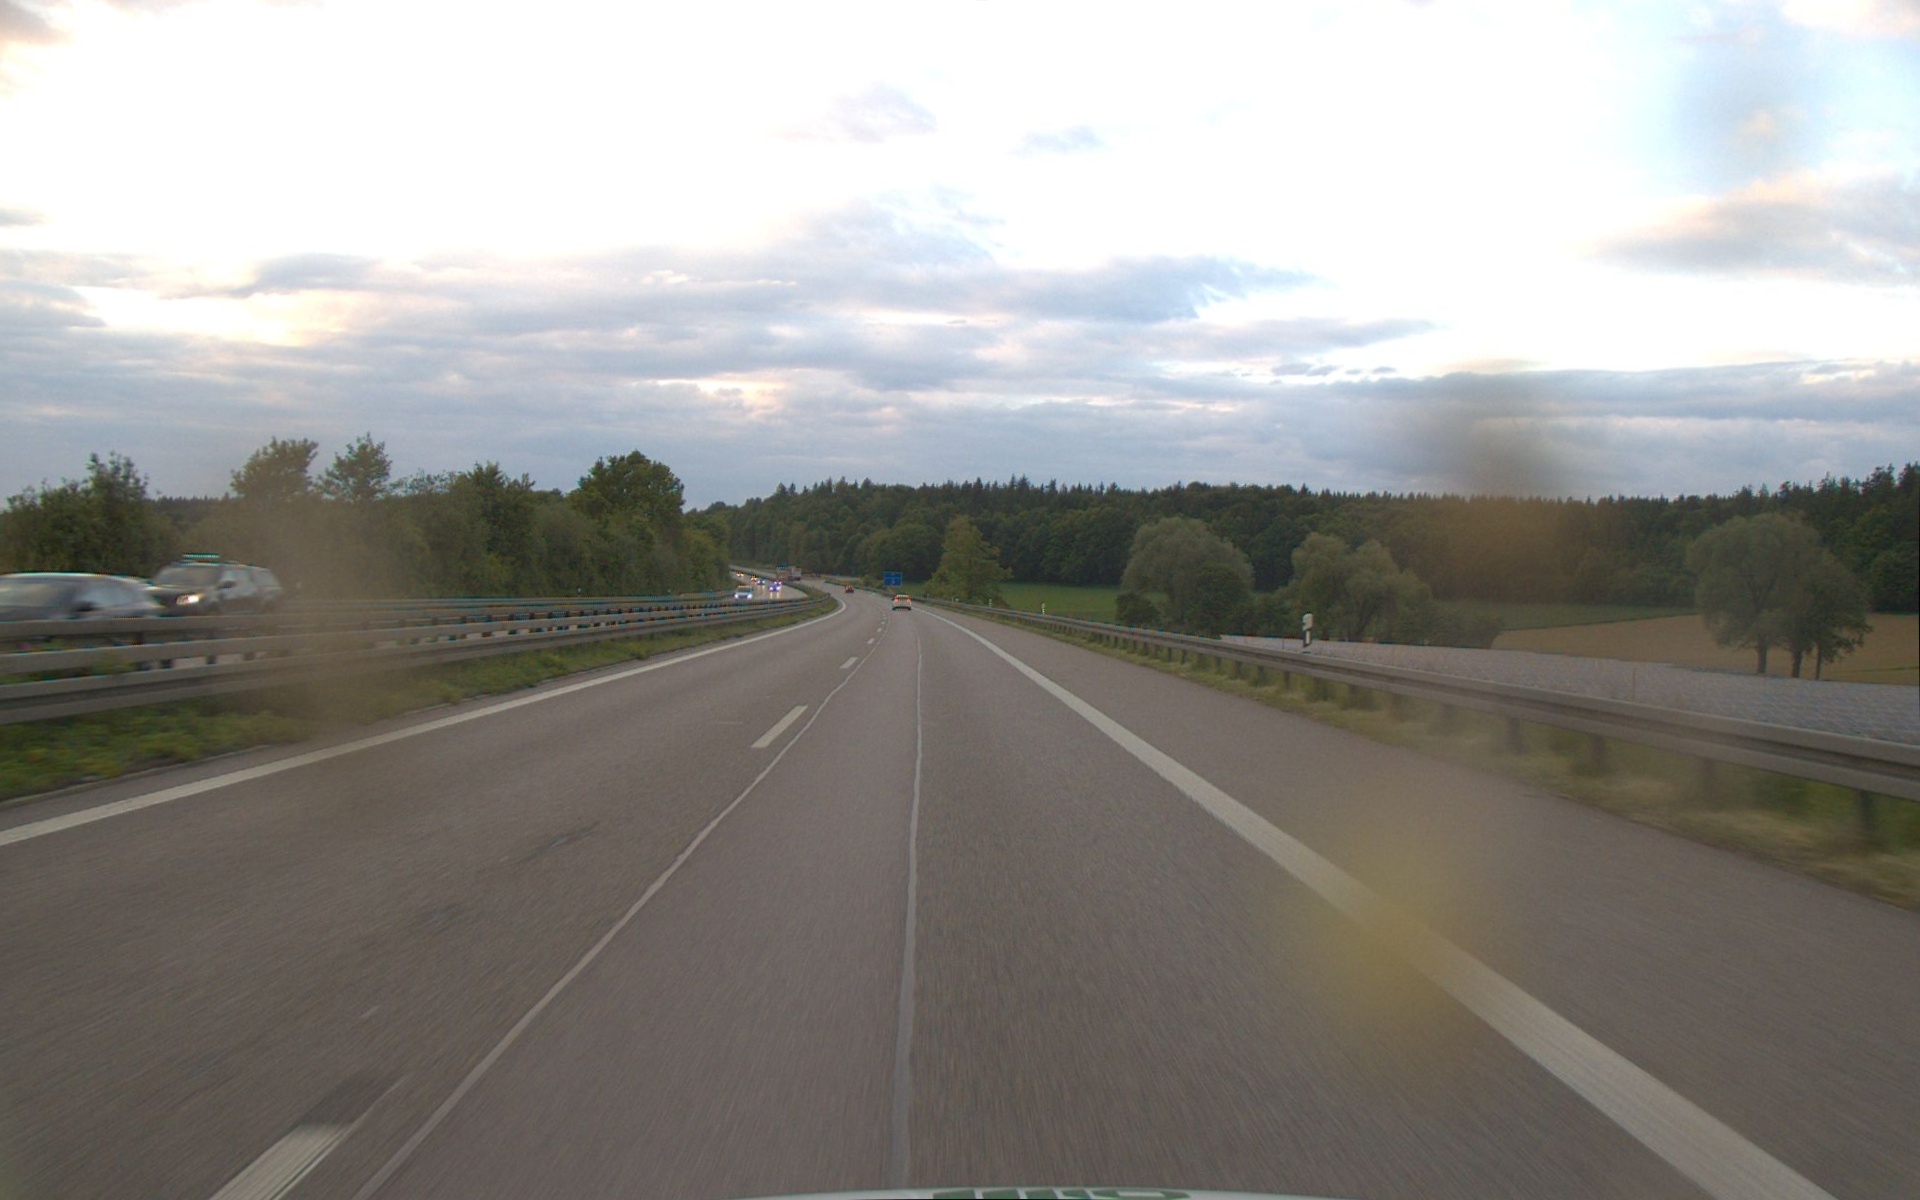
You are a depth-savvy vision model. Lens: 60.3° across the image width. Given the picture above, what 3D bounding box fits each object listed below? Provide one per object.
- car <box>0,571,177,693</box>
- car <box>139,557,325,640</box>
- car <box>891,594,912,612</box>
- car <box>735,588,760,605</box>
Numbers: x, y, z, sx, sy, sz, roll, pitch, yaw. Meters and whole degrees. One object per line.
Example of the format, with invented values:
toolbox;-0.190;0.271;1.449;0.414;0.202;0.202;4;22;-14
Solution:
car;-12.779;0.384;23.323;1.627;1.465;4.128;4;1;-4
car;-17.264;-0.061;39.574;1.848;1.723;5.768;4;1;-1
car;-5.699;0.308;161.835;1.913;1.558;4.078;4;1;-2
car;-22.744;-0.369;177.412;1.953;1.655;5.735;4;1;-1
